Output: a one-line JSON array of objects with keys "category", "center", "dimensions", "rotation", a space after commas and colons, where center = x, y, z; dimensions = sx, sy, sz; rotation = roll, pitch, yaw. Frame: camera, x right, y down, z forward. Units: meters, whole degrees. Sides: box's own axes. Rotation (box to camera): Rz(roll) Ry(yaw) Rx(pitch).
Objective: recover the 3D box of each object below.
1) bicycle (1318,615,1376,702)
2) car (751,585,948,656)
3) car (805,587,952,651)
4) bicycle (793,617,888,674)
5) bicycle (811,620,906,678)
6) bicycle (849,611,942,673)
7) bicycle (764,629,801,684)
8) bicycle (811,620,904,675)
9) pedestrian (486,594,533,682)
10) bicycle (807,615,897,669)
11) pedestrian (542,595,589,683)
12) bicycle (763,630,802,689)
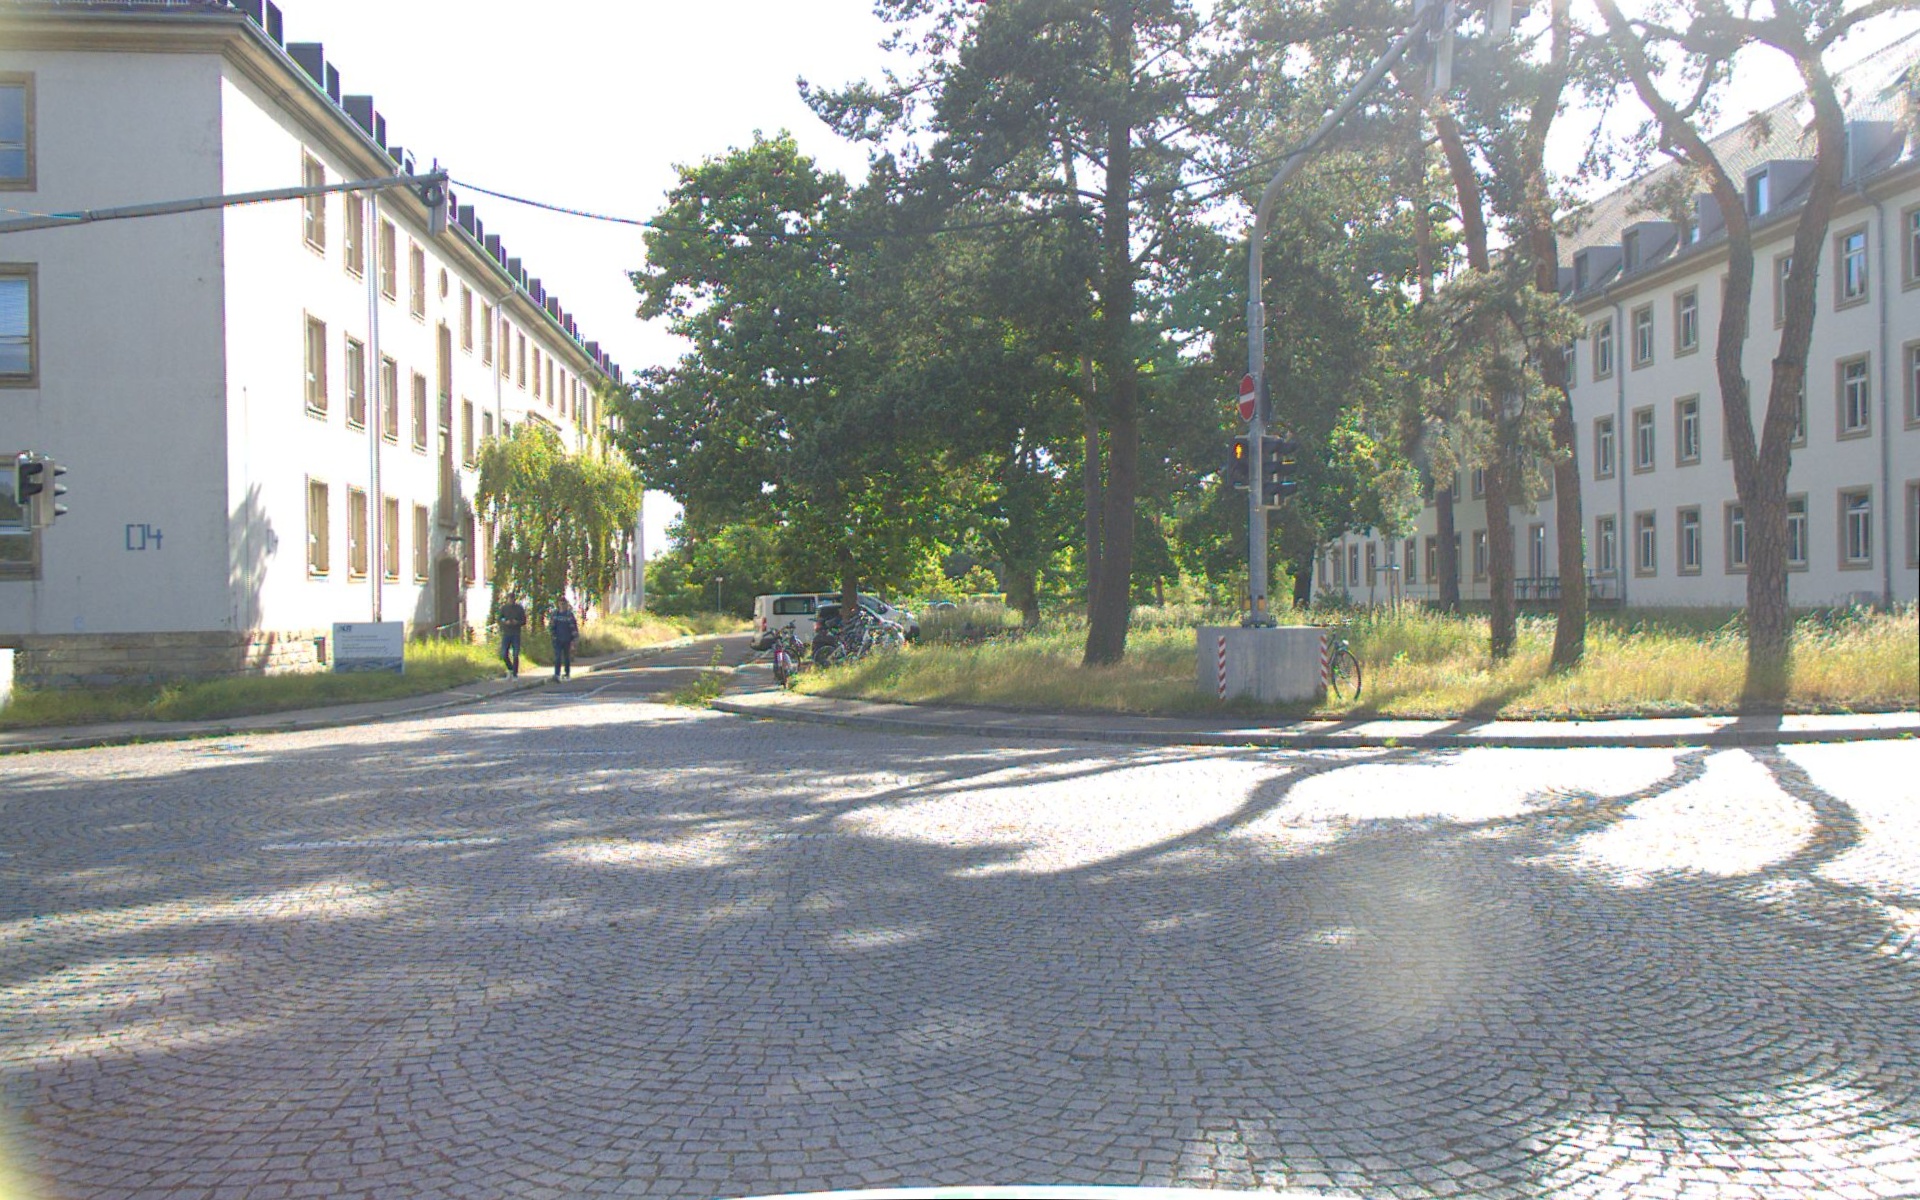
[{"category": "bicycle", "center": [5.046, 0.743, 21.622], "dimensions": [0.456, 1.099, 1.173], "rotation": [-1, -1, -1]}, {"category": "car", "center": [-3.467, 0.611, 51.245], "dimensions": [5.825, 2.049, 2.468], "rotation": [-1, 0, -12]}, {"category": "car", "center": [-2.337, 0.530, 46.977], "dimensions": [3.917, 1.713, 1.841], "rotation": [-1, 0, -12]}, {"category": "bicycle", "center": [-2.535, 0.957, 35.191], "dimensions": [1.921, 1.149, 0.641], "rotation": [-1, 0, -32]}, {"category": "bicycle", "center": [-2.089, 0.996, 34.013], "dimensions": [1.904, 1.149, 0.749], "rotation": [-1, 0, -8]}, {"category": "bicycle", "center": [-1.363, 0.872, 34.769], "dimensions": [1.904, 1.257, 0.484], "rotation": [-1, 0, -8]}, {"category": "bicycle", "center": [-3.382, 1.066, 31.567], "dimensions": [0.682, 0.988, 1.858], "rotation": [0, 0, -6]}, {"category": "bicycle", "center": [-2.069, 0.950, 33.213], "dimensions": [1.819, 1.049, 0.749], "rotation": [-1, 0, -8]}, {"category": "pedestrian", "center": [-9.554, 0.799, 35.113], "dimensions": [0.794, 1.849, 0.555], "rotation": [-1, 0, 6]}, {"category": "bicycle", "center": [-2.383, 0.911, 36.305], "dimensions": [1.905, 1.149, 0.646], "rotation": [-1, 0, -10]}, {"category": "pedestrian", "center": [-8.367, 0.817, 35.066], "dimensions": [0.751, 1.849, 0.683], "rotation": [-1, 0, 6]}, {"category": "bicycle", "center": [-3.179, 1.054, 29.637], "dimensions": [0.682, 0.988, 1.858], "rotation": [0, 0, -6]}]
